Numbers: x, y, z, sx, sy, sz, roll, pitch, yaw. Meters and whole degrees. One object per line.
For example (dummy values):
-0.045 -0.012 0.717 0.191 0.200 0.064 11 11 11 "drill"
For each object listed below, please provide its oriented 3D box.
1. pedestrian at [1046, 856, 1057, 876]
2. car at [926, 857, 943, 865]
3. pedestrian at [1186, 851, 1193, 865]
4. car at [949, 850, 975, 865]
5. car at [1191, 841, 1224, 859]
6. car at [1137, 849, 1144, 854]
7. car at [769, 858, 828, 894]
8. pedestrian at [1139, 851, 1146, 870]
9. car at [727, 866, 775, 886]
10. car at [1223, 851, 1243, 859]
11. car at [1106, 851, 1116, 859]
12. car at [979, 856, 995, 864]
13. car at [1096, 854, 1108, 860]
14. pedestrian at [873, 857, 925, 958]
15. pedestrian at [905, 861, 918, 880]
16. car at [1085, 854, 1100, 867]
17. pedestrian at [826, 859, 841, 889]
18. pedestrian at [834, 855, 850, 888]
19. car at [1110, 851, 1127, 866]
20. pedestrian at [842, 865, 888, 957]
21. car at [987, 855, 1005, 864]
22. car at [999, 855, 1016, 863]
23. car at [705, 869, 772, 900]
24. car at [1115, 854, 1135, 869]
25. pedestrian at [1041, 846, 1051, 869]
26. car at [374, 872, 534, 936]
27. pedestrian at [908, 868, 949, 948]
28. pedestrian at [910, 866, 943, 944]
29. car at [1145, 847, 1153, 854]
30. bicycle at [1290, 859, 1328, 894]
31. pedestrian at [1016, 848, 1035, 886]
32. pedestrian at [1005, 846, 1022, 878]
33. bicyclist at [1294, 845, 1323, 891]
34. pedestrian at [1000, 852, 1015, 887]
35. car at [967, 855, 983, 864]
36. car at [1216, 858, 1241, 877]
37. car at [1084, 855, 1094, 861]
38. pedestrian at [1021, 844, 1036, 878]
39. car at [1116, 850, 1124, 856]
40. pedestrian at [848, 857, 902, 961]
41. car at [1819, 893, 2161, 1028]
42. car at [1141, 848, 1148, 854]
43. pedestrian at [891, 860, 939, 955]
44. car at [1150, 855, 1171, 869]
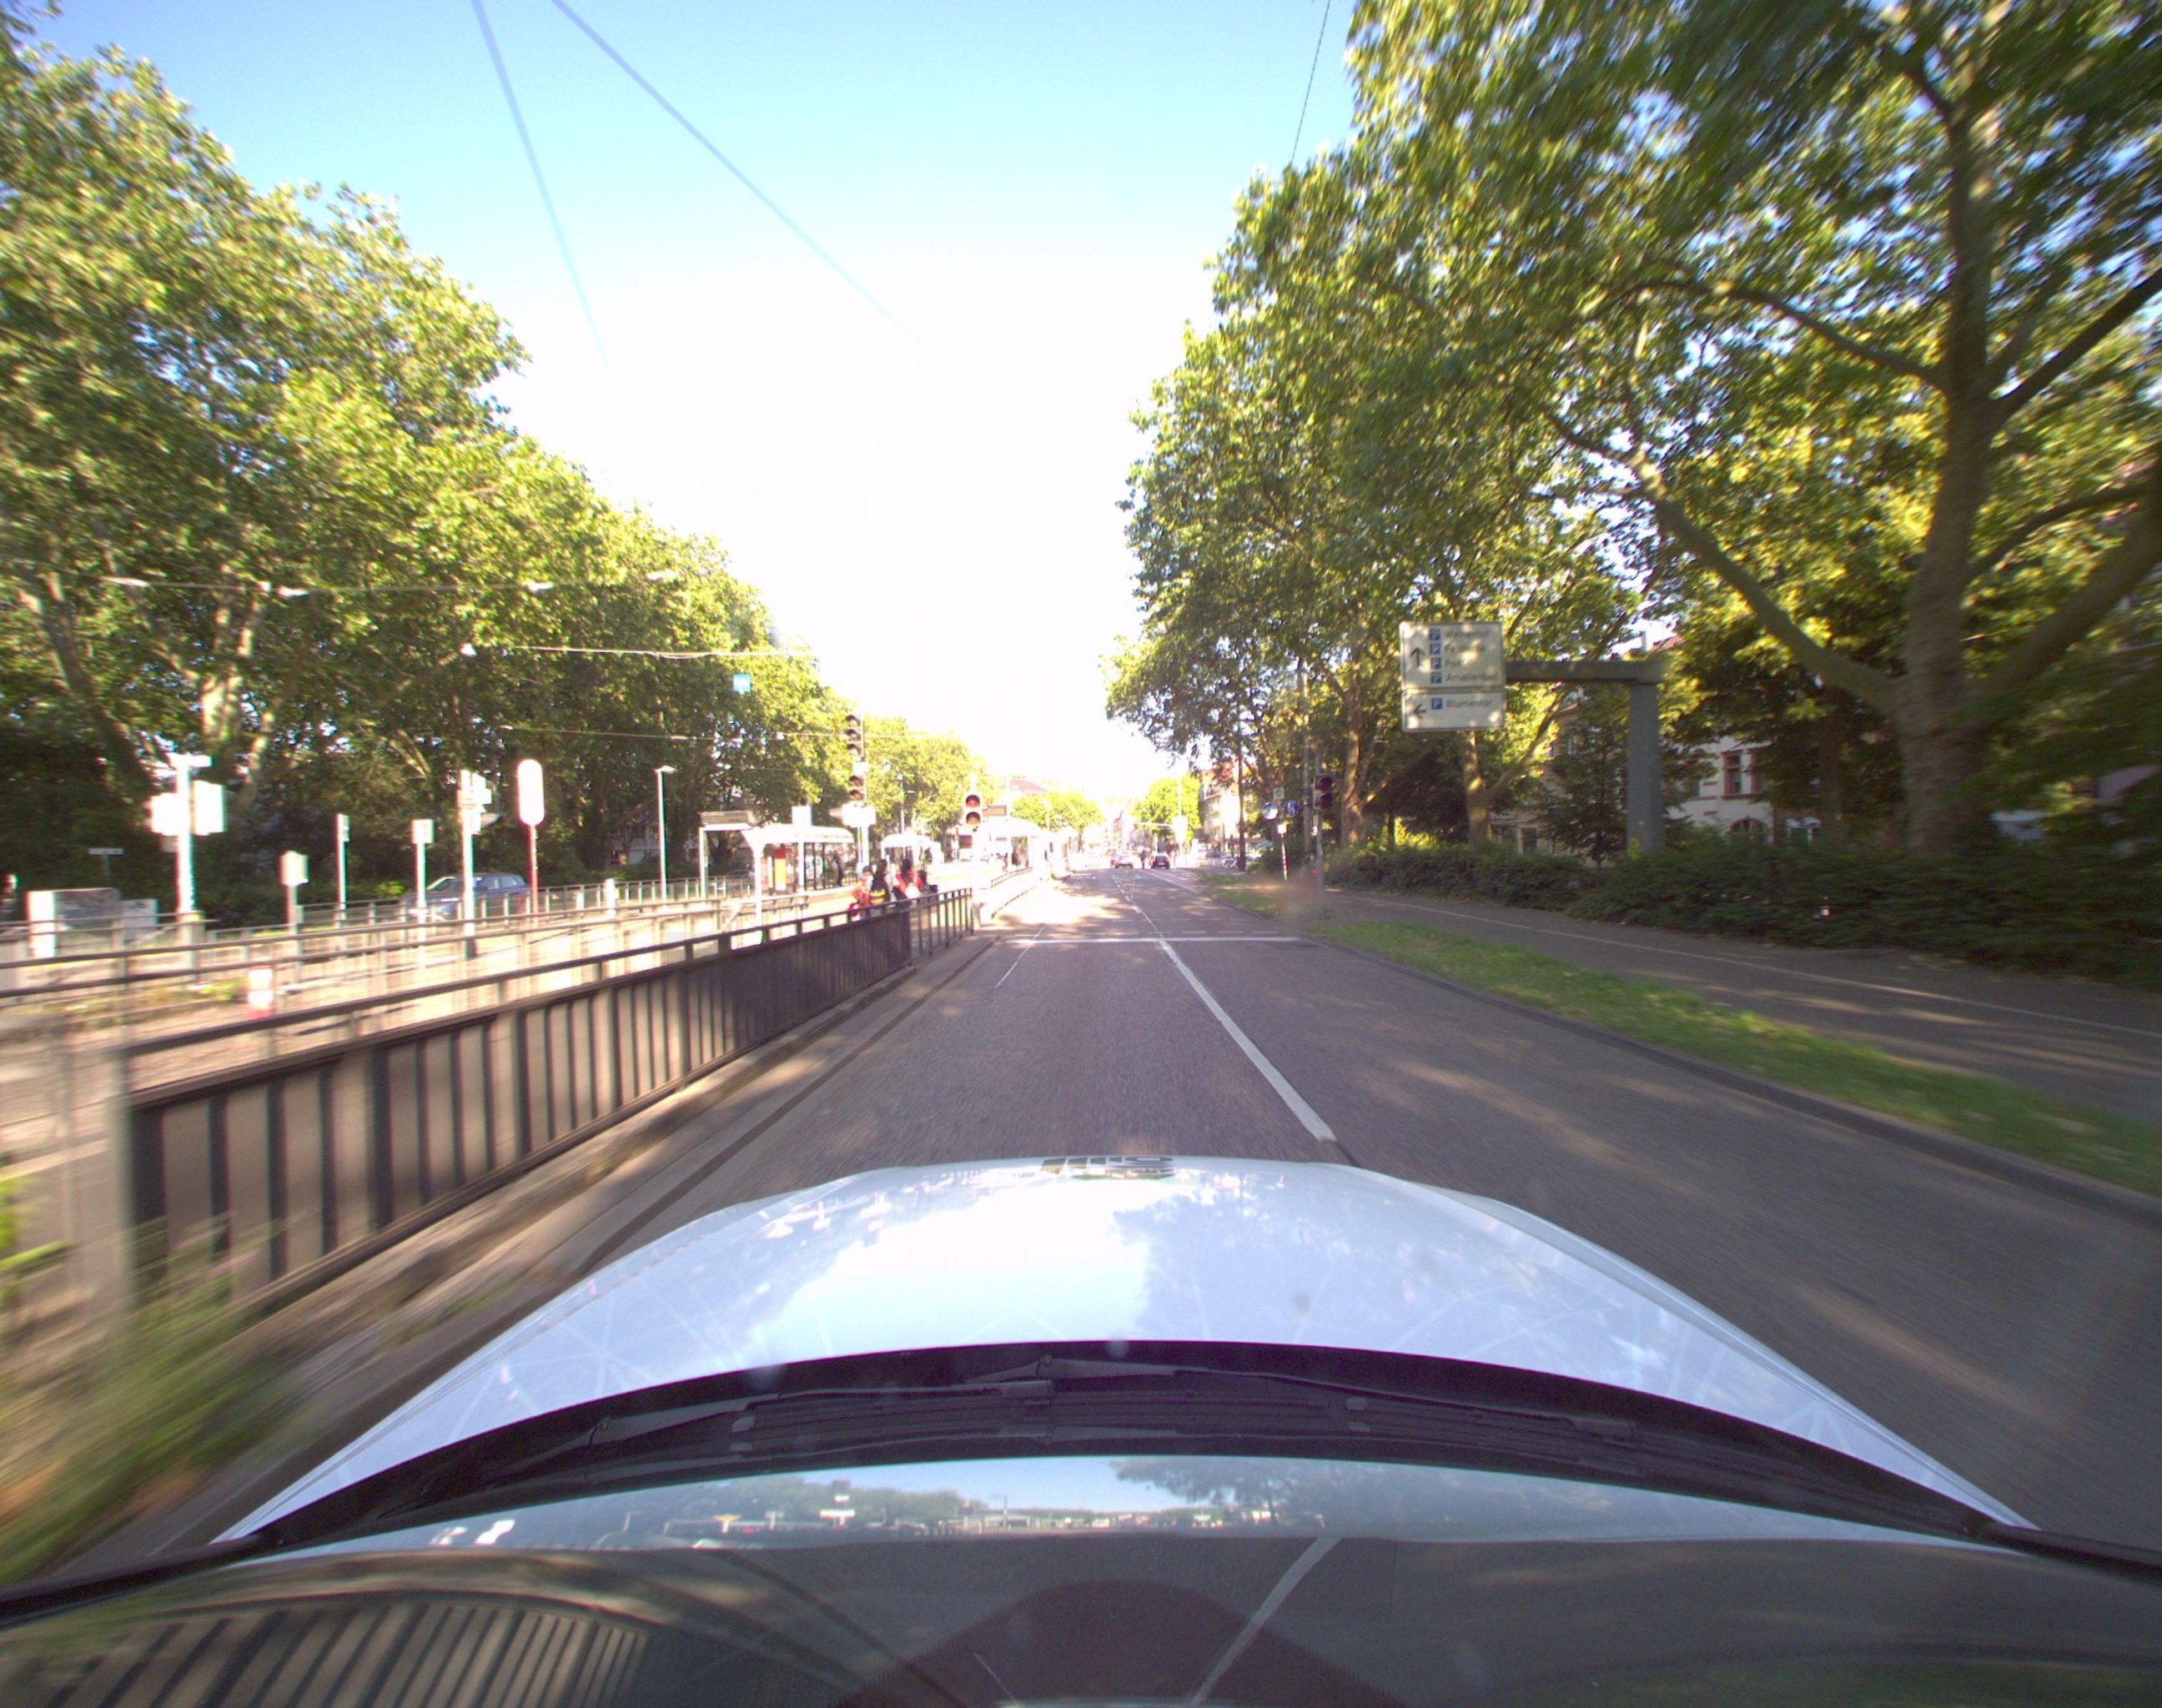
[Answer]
-2.021 0.812 55.155 0.676 1.309 0.593 -1 -1 1 "pedestrian"
-32.819 1.580 182.725 1.778 1.510 4.023 -2 0 24 "car"
12.017 0.433 90.207 0.643 1.563 0.635 1 0 19 "pedestrian"
-26.124 0.678 179.228 2.473 3.165 6.572 -2 0 24 "car"
19.926 -0.593 128.138 4.988 2.743 2.078 -1 -1 7 "car"
18.571 -0.909 253.659 1.788 1.510 4.000 -2 0 0 "car"
-18.550 1.402 53.710 2.061 2.124 5.088 -3 -1 -1 "car"
6.133 0.628 81.343 0.654 1.871 0.678 -2 0 0 "pedestrian"
-41.980 2.787 103.789 2.131 2.335 5.756 -2 0 24 "car"
23.867 0.129 127.704 2.887 1.162 2.078 -1 -1 7 "car"
7.474 0.232 204.771 1.783 1.826 4.012 -2 0 11 "car"
-20.518 1.343 177.297 1.779 1.510 4.030 -2 0 19 "car"
5.094 0.748 197.349 1.779 1.510 4.020 -2 -1 20 "car"
-2.930 0.855 13.133 0.515 1.568 0.511 -4 -1 31 "pedestrian"
-12.448 1.182 59.836 0.668 1.324 0.756 -4 0 -1 "pedestrian"
1.331 0.796 96.423 1.802 1.452 4.000 -1 0 0 "car"
-13.130 1.059 43.250 0.590 1.544 0.627 -1 -1 1 "pedestrian"
-12.891 0.952 43.994 0.645 1.772 0.651 -1 -1 3 "pedestrian"
4.340 0.475 94.604 1.794 1.638 4.045 -1 0 0 "car"
-3.625 0.948 13.683 0.518 1.472 0.514 -4 -1 2 "pedestrian"
-18.195 1.199 175.268 1.777 1.649 4.035 -2 0 30 "car"
-15.760 1.119 174.548 1.904 1.649 4.202 -2 0 21 "car"
-18.750 1.641 44.806 1.789 1.510 4.339 -3 -1 -1 "car"
4.677 0.784 87.378 1.922 1.472 4.855 -1 0 1 "car"
-2.532 0.248 58.495 0.592 1.678 0.590 -1 -1 6 "pedestrian"
-19.229 1.472 25.235 1.898 1.652 3.969 -3 -1 -2 "car"
-2.806 0.976 14.953 0.591 1.406 0.556 -4 -1 -20 "pedestrian"
-2.700 0.880 14.227 0.414 1.320 0.359 -4 -1 1 "pedestrian"
20.133 -1.057 241.001 2.098 1.776 4.341 -2 0 0 "car"
7.659 0.729 27.461 0.763 1.107 1.800 -2 0 0 "bicycle"
-2.511 0.572 36.863 0.739 1.694 0.791 0 0 1 "pedestrian"
-3.656 0.438 43.977 0.656 1.722 0.703 0 -1 -35 "pedestrian"
7.656 0.473 27.475 0.763 1.513 0.650 -2 0 0 "bicyclist"
-3.337 0.700 36.830 0.586 1.567 0.650 0 0 1 "pedestrian"
-23.104 1.211 177.886 1.779 1.955 4.020 -2 0 19 "car"
15.433 1.438 85.284 1.789 1.898 4.356 -1 -1 -1 "car"
1.803 0.945 189.304 1.784 1.510 4.009 -2 -1 8 "car"
-2.831 0.380 43.927 0.647 1.841 0.712 0 -1 10 "pedestrian"
10.555 -0.369 219.367 1.789 1.510 3.999 -2 0 0 "car"
-3.217 0.853 12.728 0.515 1.568 0.511 -4 -1 31 "pedestrian"
15.681 1.698 14.232 1.897 1.812 4.100 -1 0 1 "car"
19.158 -0.902 247.495 1.788 1.510 4.000 -2 0 0 "car"
-2.799 0.888 13.741 0.587 1.519 0.514 -4 -1 1 "pedestrian"
7.978 0.789 82.173 1.794 1.439 4.045 0 0 1 "car"
